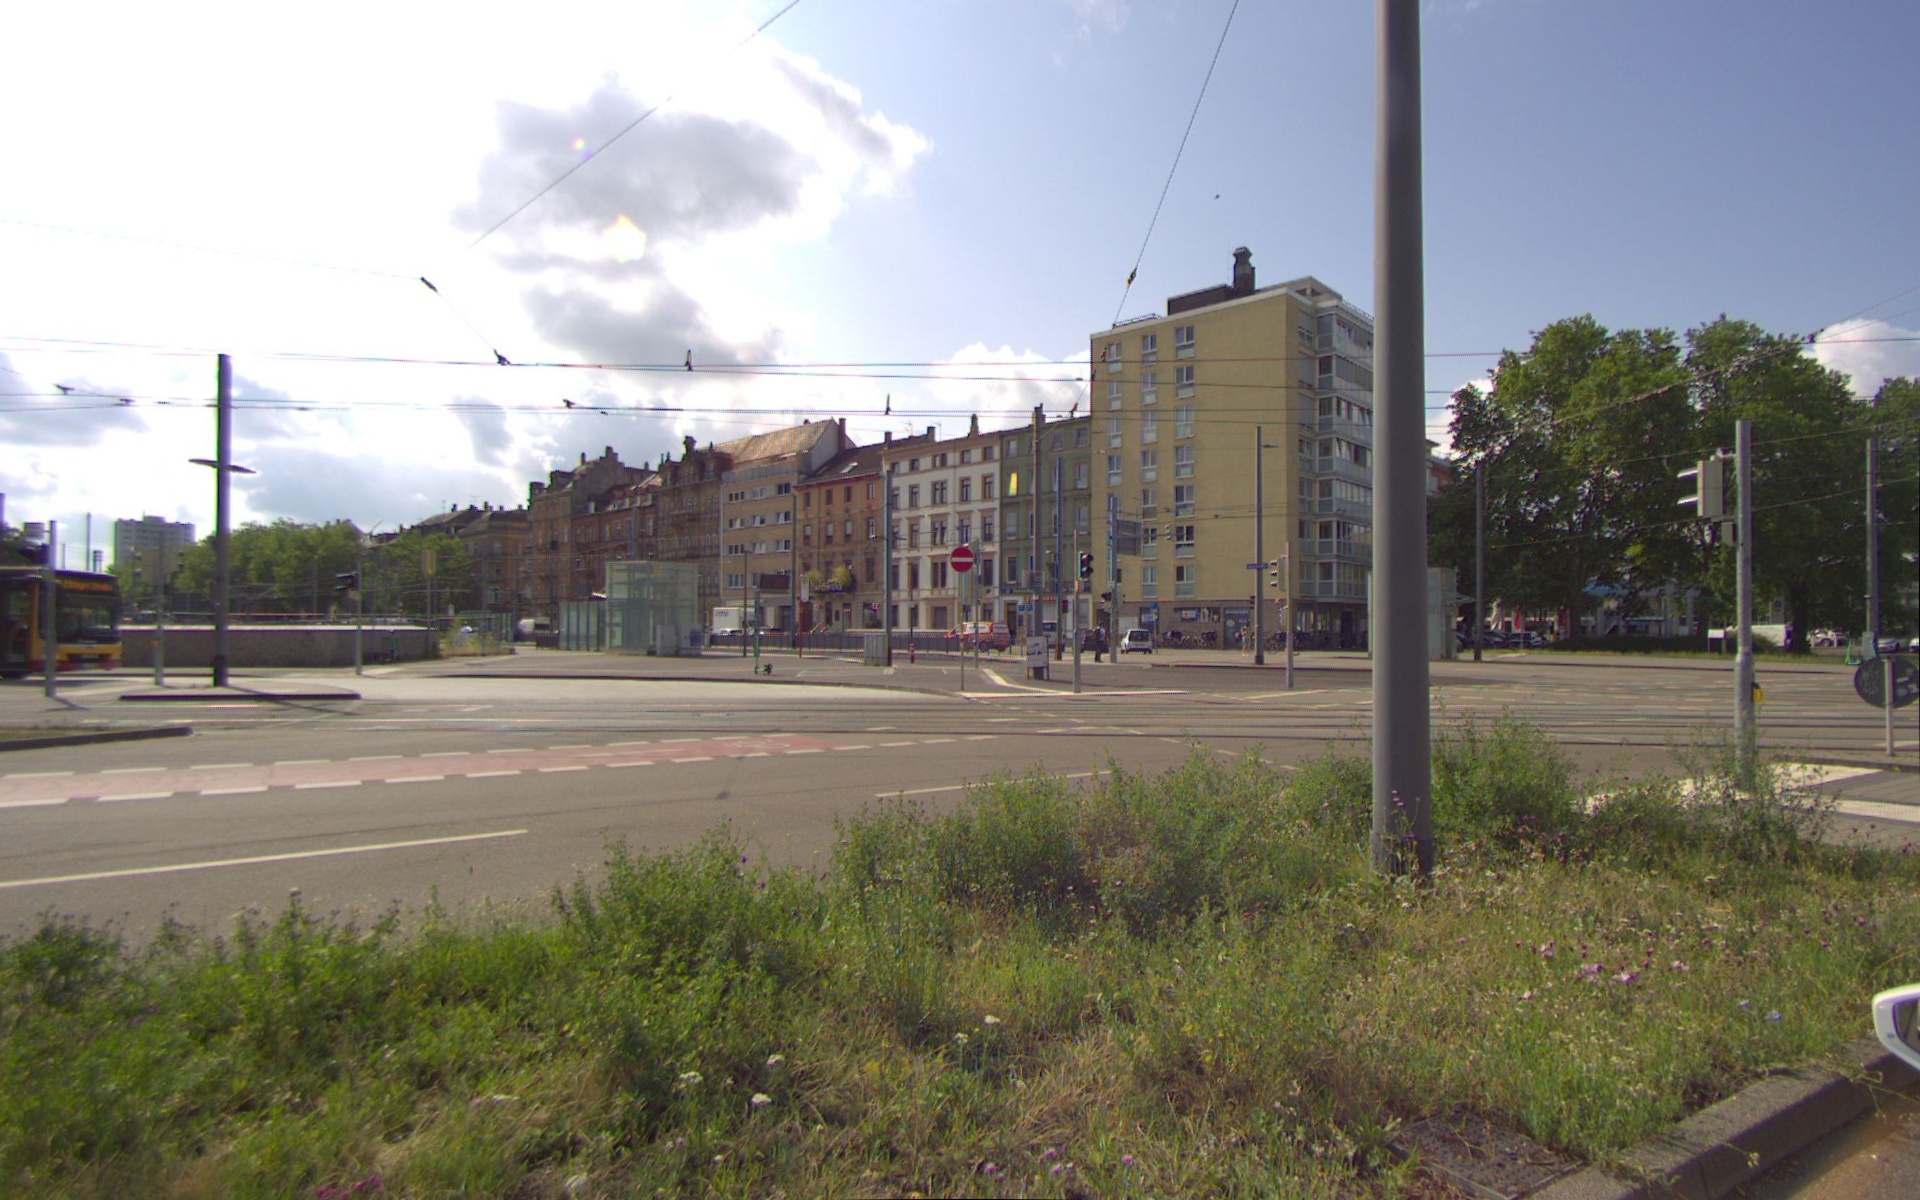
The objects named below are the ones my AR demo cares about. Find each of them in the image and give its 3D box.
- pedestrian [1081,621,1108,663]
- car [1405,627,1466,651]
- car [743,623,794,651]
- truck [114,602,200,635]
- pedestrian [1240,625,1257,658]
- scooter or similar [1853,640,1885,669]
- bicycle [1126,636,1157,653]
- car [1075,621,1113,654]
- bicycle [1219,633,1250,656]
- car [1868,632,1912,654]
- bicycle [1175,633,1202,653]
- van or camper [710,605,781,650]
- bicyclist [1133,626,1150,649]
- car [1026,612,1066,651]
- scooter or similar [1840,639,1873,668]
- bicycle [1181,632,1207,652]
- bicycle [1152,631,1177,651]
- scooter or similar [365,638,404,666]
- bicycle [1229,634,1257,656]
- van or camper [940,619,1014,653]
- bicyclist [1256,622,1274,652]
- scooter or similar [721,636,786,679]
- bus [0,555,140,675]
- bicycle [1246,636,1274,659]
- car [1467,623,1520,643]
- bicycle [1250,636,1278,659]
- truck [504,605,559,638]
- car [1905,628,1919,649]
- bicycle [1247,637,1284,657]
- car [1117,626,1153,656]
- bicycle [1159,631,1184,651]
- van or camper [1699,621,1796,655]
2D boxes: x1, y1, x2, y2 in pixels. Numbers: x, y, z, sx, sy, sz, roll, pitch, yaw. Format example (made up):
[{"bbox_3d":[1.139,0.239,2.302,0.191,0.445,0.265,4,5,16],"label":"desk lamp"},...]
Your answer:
[{"bbox_3d":[5.855,1.816,43.743,0.783,1.696,0.840,6,6,42],"label":"pedestrian"},{"bbox_3d":[34.078,2.779,72.061,3.524,1.550,1.989,2,0,43],"label":"car"},{"bbox_3d":[-15.105,2.888,79.119,3.945,2.040,1.988,2,0,44],"label":"car"},{"bbox_3d":[-93.304,2.165,116.831,2.432,3.696,7.421,-1,-2,37],"label":"truck"},{"bbox_3d":[15.893,2.283,55.372,0.770,1.783,0.995,2,-1,20],"label":"pedestrian"},{"bbox_3d":[39.445,2.341,43.579,0.911,1.173,0.381,3,4,5],"label":"scooter or similar"},{"bbox_3d":[12.066,2.950,66.810,1.963,1.142,0.785,-1,-2,41],"label":"bicycle"},{"bbox_3d":[8.361,2.293,63.024,1.853,1.488,5.063,3,4,2],"label":"car"},{"bbox_3d":[17.836,2.888,65.252,1.859,1.289,0.486,6,5,36],"label":"bicycle"},{"bbox_3d":[74.168,3.402,80.108,3.965,1.595,1.978,2,0,-38],"label":"car"},{"bbox_3d":[15.356,2.872,67.586,1.622,1.217,0.545,6,3,44],"label":"bicycle"},{"bbox_3d":[-19.889,2.476,92.764,2.703,3.376,7.536,-1,6,-45],"label":"van or camper"},{"bbox_3d":[12.058,2.475,66.843,0.821,1.517,0.785,-1,-2,41],"label":"bicyclist"},{"bbox_3d":[5.603,2.020,66.332,2.039,2.113,4.897,3,2,-1],"label":"car"},{"bbox_3d":[39.432,2.344,44.173,0.911,1.173,0.381,4,4,16],"label":"scooter or similar"},{"bbox_3d":[15.793,2.840,67.937,1.622,1.217,0.485,6,3,44],"label":"bicycle"},{"bbox_3d":[14.043,2.792,68.958,1.622,1.217,0.485,6,3,44],"label":"bicycle"},{"bbox_3d":[-20.625,1.867,36.022,0.464,0.962,1.663,0,-1,-1],"label":"scooter or similar"},{"bbox_3d":[18.434,2.907,65.438,1.622,1.289,0.485,6,3,44],"label":"bicycle"},{"bbox_3d":[1.056,2.266,63.940,4.454,1.940,2.006,1,0,40],"label":"van or camper"},{"bbox_3d":[18.189,2.177,59.842,0.815,1.768,0.709,-1,-1,39],"label":"bicyclist"},{"bbox_3d":[-6.298,1.727,30.645,1.330,1.205,1.475,2,0,-44],"label":"scooter or similar"},{"bbox_3d":[-25.366,0.384,25.303,6.964,2.871,2.699,0,-1,-4],"label":"bus"},{"bbox_3d":[19.146,3.040,64.108,1.622,1.289,0.528,6,3,44],"label":"bicycle"},{"bbox_3d":[44.053,2.711,82.982,1.654,1.615,3.574,1,-2,-43],"label":"car"},{"bbox_3d":[19.515,3.053,64.498,1.622,1.289,0.485,6,3,44],"label":"bicycle"},{"bbox_3d":[-47.609,2.353,111.462,7.197,3.330,3.160,2,1,45],"label":"truck"},{"bbox_3d":[75.225,2.991,77.910,3.959,1.625,2.055,1,-2,-34],"label":"car"},{"bbox_3d":[18.184,2.770,59.780,1.963,1.142,0.785,-1,-2,41],"label":"bicycle"},{"bbox_3d":[10.645,2.480,61.327,1.685,1.460,3.512,4,2,3],"label":"car"},{"bbox_3d":[14.578,2.809,69.173,1.622,1.217,0.485,6,3,44],"label":"bicycle"},{"bbox_3d":[64.529,3.056,82.456,2.361,2.502,5.858,2,0,-25],"label":"van or camper"}]
